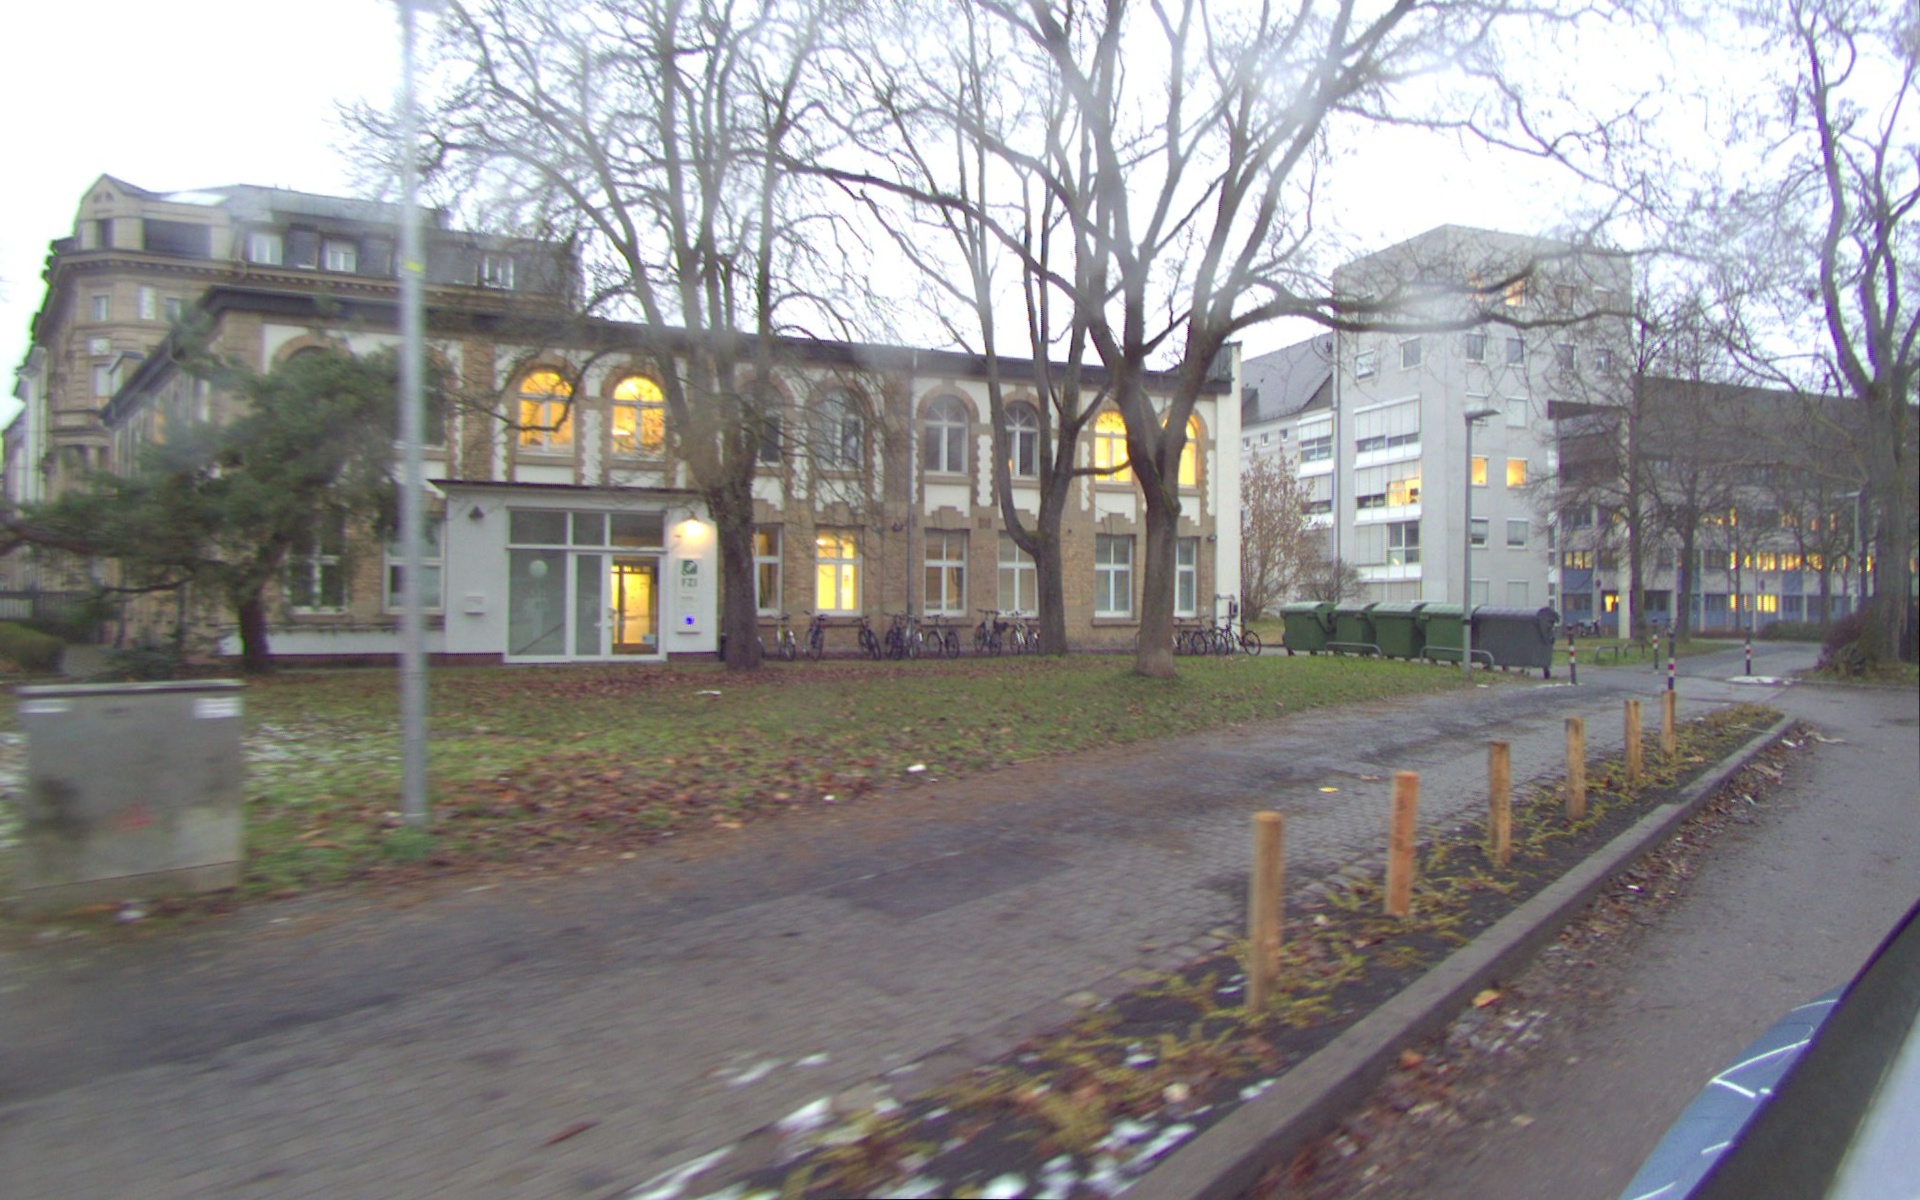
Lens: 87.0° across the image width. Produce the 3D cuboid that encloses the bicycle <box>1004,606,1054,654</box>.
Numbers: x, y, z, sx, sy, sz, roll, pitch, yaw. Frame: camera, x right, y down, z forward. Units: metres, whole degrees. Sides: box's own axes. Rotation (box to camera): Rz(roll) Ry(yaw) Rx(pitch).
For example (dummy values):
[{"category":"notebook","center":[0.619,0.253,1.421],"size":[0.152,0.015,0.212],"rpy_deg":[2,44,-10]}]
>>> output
[{"category":"bicycle","center":[1.709,0.728,25.429],"size":[0.561,1.124,2.146],"rpy_deg":[0,1,-15]}]

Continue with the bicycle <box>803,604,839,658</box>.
[{"category":"bicycle","center":[-3.264,0.685,23.643],"size":[0.561,1.171,2.146],"rpy_deg":[0,1,-15]}]

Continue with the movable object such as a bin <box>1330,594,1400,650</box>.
[{"category":"movable object such as a bin","center":[9.761,0.517,24.423],"size":[0.967,1.296,1.254],"rpy_deg":[0,0,-22]}]

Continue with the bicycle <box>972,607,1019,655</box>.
[{"category":"bicycle","center":[0.862,0.742,25.141],"size":[0.561,1.106,2.146],"rpy_deg":[0,1,-15]}]

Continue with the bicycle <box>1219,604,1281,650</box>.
[{"category":"bicycle","center":[7.842,0.704,27.482],"size":[0.561,1.171,2.146],"rpy_deg":[0,1,-15]}]

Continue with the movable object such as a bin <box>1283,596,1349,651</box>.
[{"category":"movable object such as a bin","center":[9.008,0.569,25.631],"size":[0.967,1.330,1.266],"rpy_deg":[0,0,-22]}]

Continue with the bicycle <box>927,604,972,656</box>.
[{"category":"bicycle","center":[-0.283,0.710,24.730],"size":[0.561,1.171,2.146],"rpy_deg":[0,1,-15]}]

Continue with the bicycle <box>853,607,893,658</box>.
[{"category":"bicycle","center":[-2.093,0.747,24.189],"size":[0.561,1.063,2.147],"rpy_deg":[0,2,-15]}]

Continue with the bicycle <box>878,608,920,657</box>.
[{"category":"bicycle","center":[-1.484,0.753,24.381],"size":[0.561,1.029,2.147],"rpy_deg":[0,2,-15]}]

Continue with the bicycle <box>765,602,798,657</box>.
[{"category":"bicycle","center":[-4.137,0.653,23.384],"size":[0.561,1.171,2.146],"rpy_deg":[0,1,-15]}]

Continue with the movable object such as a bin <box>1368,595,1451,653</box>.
[{"category":"movable object such as a bin","center":[10.203,0.520,23.019],"size":[0.967,1.240,1.441],"rpy_deg":[0,0,-22]}]

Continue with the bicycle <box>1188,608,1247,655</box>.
[{"category":"bicycle","center":[6.909,0.810,27.252],"size":[0.561,1.171,2.146],"rpy_deg":[0,1,-15]}]

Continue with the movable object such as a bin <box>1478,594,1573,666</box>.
[{"category":"movable object such as a bin","center":[11.284,0.566,20.219],"size":[1.043,1.333,1.324],"rpy_deg":[0,2,-35]}]

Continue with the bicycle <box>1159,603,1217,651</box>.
[{"category":"bicycle","center":[6.027,0.695,26.840],"size":[0.561,1.171,2.146],"rpy_deg":[0,1,-15]}]

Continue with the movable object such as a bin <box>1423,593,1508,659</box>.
[{"category":"movable object such as a bin","center":[10.743,0.530,21.542],"size":[0.967,1.330,1.310],"rpy_deg":[0,0,-22]}]

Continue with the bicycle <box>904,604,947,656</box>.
[{"category":"bicycle","center":[-0.864,0.692,24.552],"size":[0.561,1.171,2.146],"rpy_deg":[0,1,-15]}]

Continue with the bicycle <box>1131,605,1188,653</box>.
[{"category":"bicycle","center":[5.206,0.728,26.544],"size":[0.561,1.171,2.146],"rpy_deg":[0,1,-15]}]
